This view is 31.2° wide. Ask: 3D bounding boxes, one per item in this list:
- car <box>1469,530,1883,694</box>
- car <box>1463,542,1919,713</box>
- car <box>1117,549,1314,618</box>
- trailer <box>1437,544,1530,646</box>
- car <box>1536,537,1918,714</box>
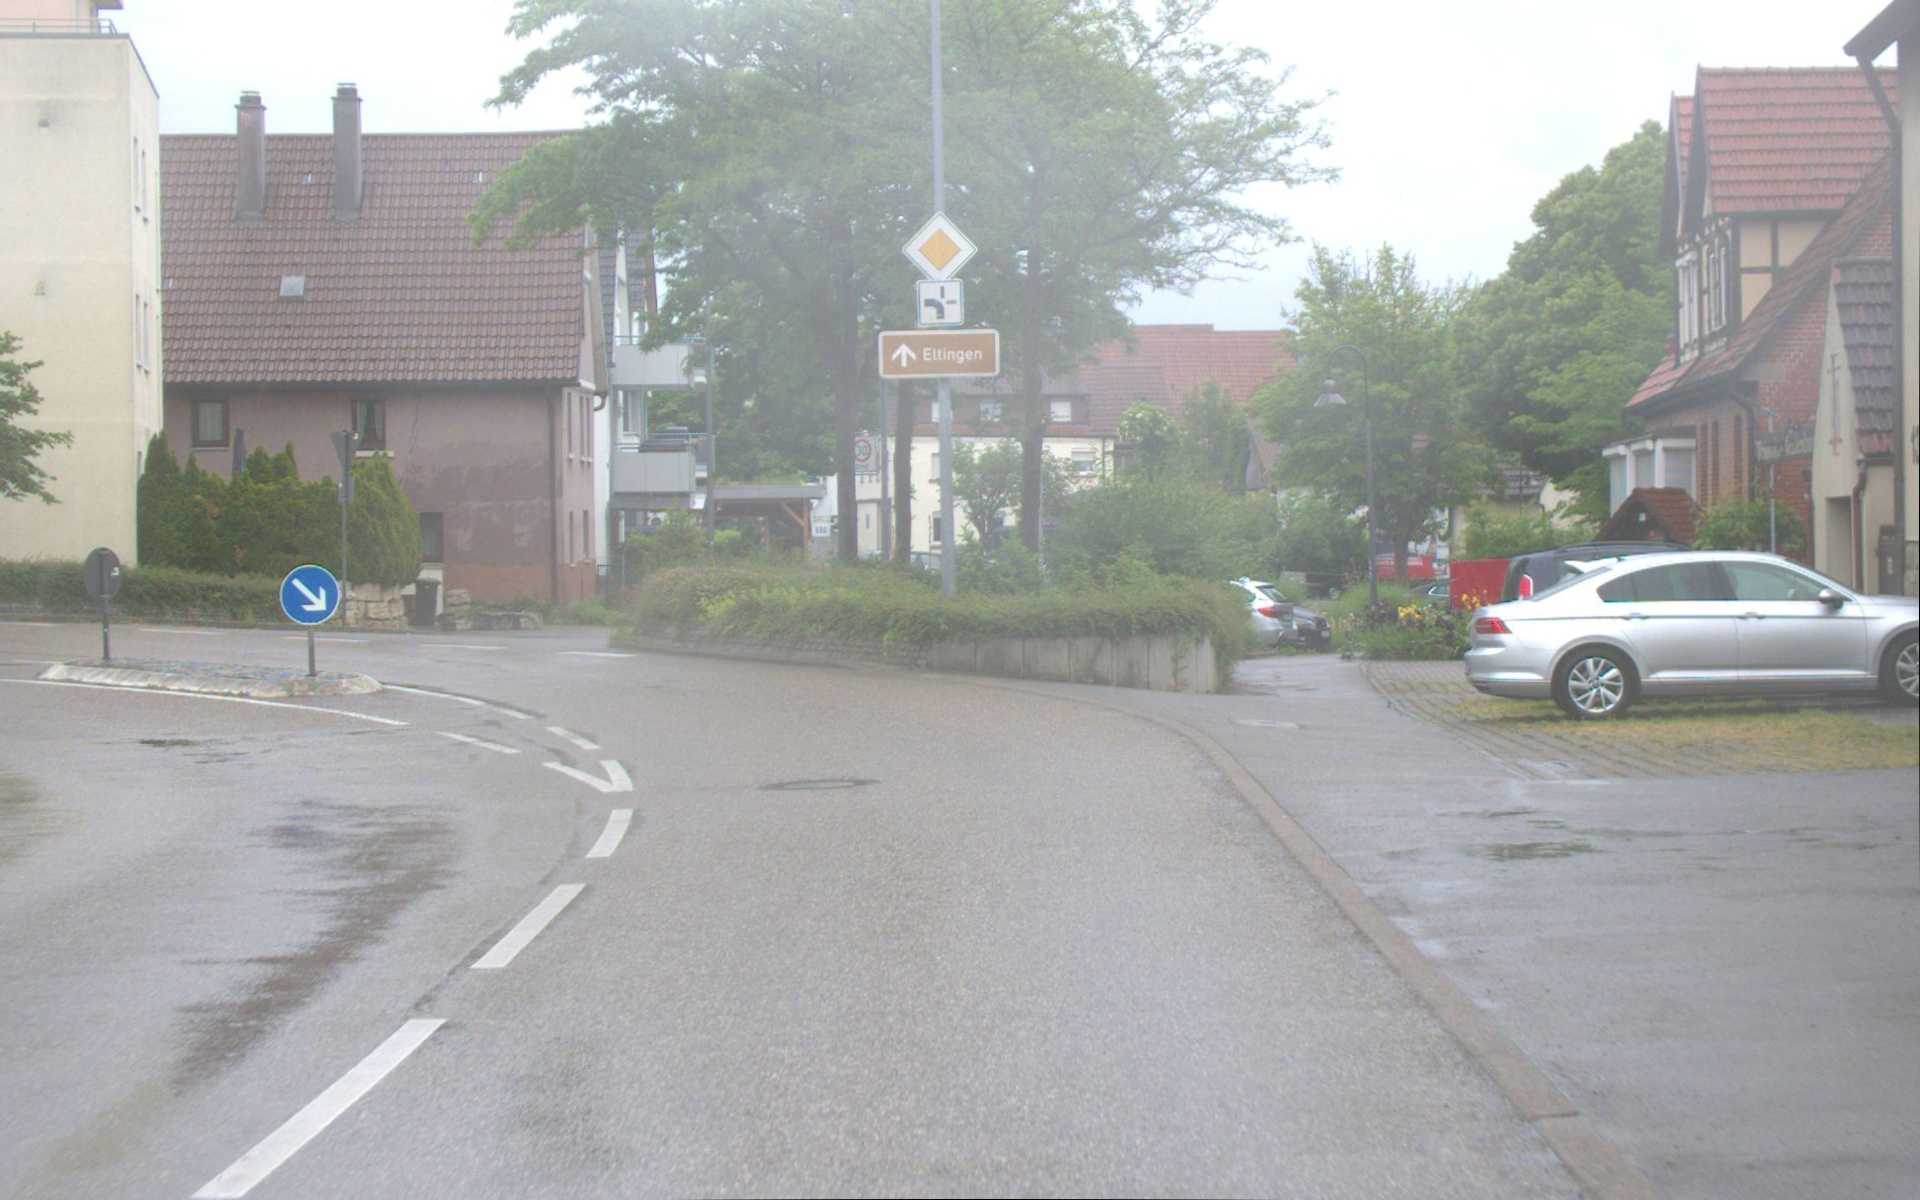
[{"bbox_3d":[7.561,0.130,36.549,3.987,1.577,1.748,-2,-1,0],"label":"car"},{"bbox_3d":[6.835,0.229,30.480,4.613,1.410,1.820,-1,0,6],"label":"car"},{"bbox_3d":[5.037,-0.331,67.509,3.769,1.333,1.714,0,1,7],"label":"car"},{"bbox_3d":[8.917,-0.101,58.450,1.408,1.643,2.724,2,1,11],"label":"trailer"},{"bbox_3d":[7.454,0.265,33.650,3.421,1.524,1.718,2,-4,6],"label":"car"}]
